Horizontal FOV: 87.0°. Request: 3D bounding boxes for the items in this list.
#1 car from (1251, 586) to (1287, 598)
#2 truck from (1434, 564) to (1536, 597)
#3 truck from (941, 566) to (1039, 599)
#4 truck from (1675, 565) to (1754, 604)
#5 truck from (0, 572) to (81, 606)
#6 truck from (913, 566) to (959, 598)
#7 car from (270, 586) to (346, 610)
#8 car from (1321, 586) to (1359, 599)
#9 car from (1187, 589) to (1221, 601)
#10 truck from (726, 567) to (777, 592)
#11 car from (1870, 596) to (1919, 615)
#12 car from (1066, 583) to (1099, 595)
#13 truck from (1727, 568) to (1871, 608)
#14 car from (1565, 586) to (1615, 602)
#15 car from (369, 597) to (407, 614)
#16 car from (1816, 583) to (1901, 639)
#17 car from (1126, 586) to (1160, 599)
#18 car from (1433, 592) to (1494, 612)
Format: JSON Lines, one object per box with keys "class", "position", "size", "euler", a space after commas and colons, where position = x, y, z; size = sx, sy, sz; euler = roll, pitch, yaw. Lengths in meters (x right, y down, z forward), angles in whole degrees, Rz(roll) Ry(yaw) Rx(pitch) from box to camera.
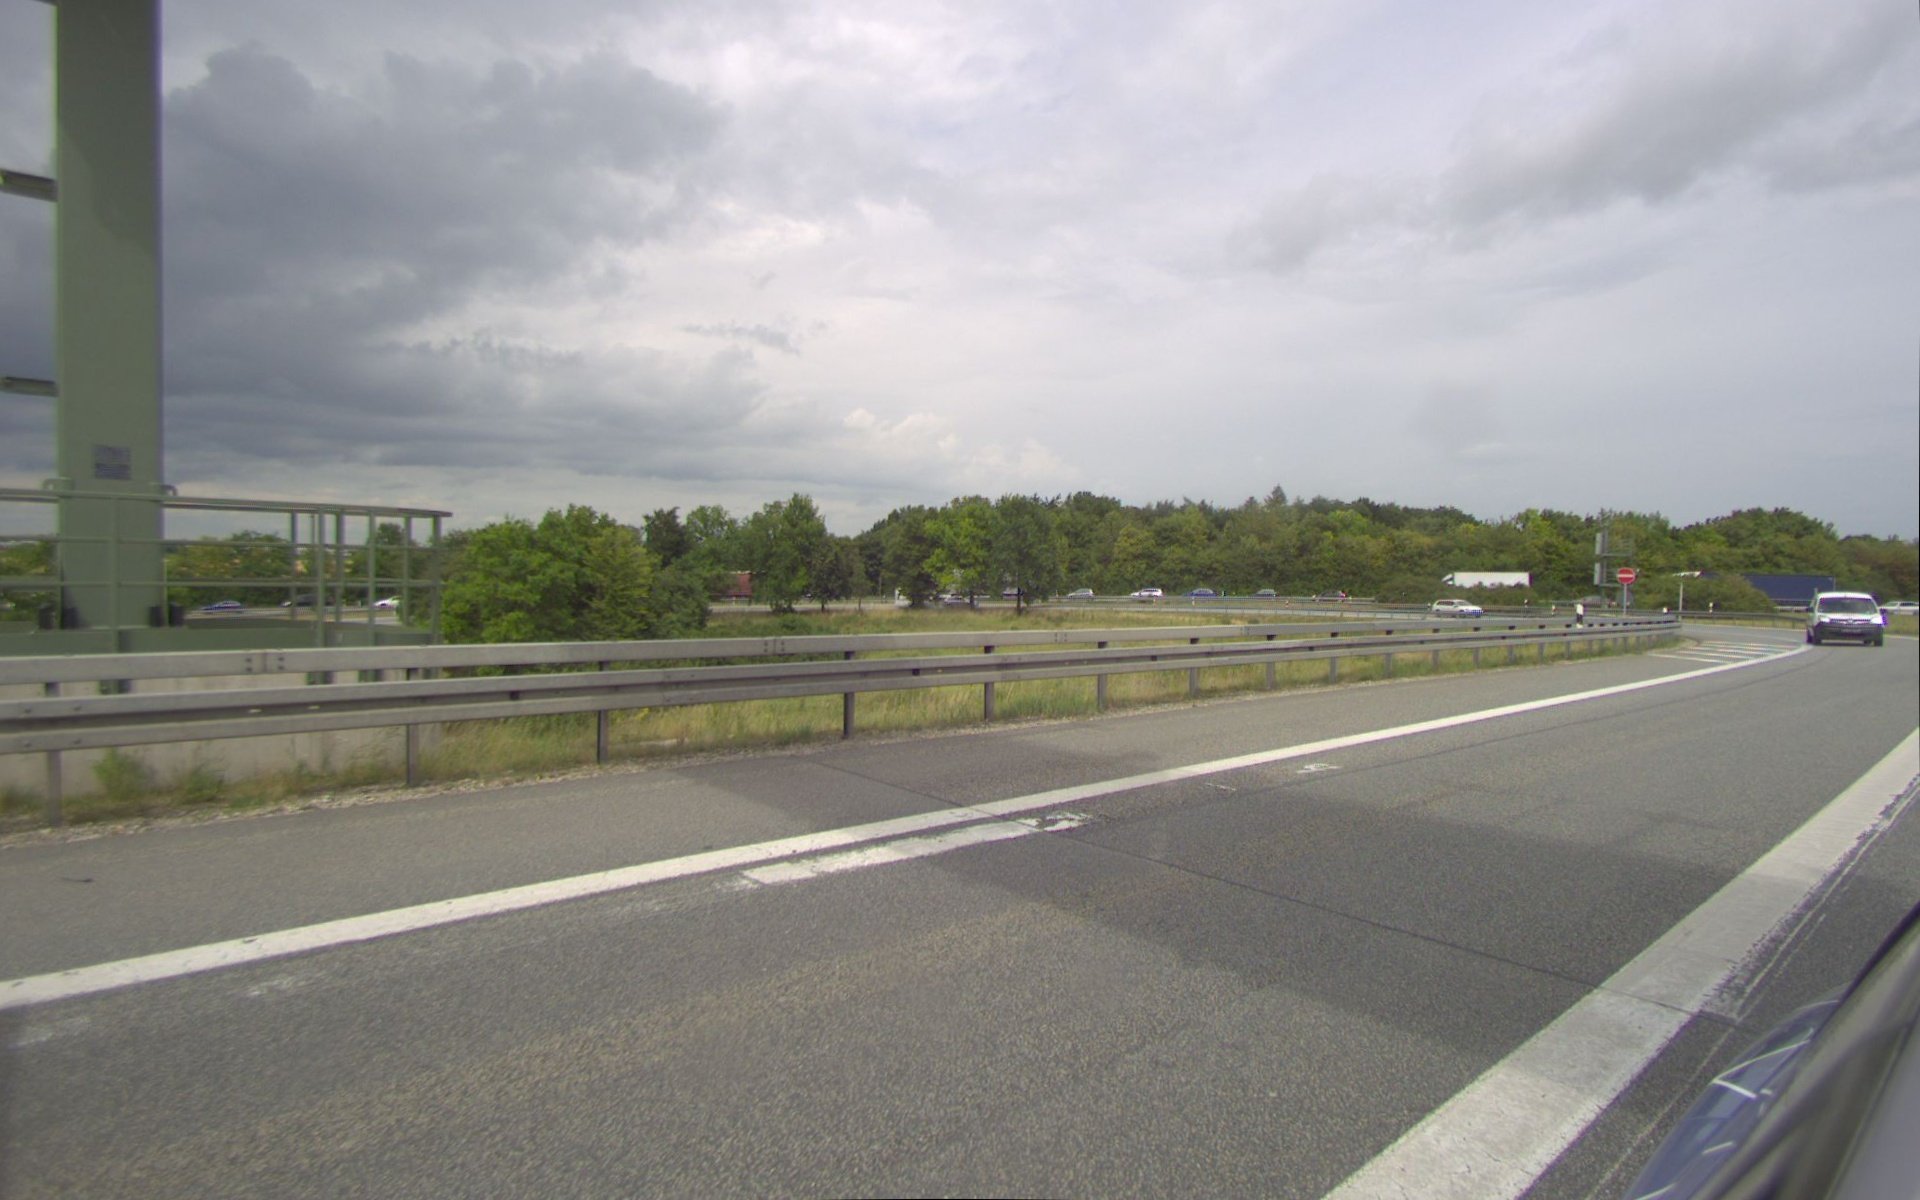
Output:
{"class": "car", "position": [37.330, -0.978, 122.312], "size": [3.958, 1.468, 1.545], "euler": [1, 1, 26]}
{"class": "truck", "position": [57.296, -2.135, 110.790], "size": [9.773, 3.446, 2.672], "euler": [1, 0, 26]}
{"class": "truck", "position": [3.960, -2.279, 134.859], "size": [12.837, 4.295, 2.681], "euler": [0, 0, 17]}
{"class": "truck", "position": [77.119, -1.553, 103.515], "size": [5.824, 3.850, 2.898], "euler": [1, 0, 5]}
{"class": "truck", "position": [-96.133, -1.149, 103.517], "size": [8.836, 3.410, 3.349], "euler": [0, 0, -20]}
{"class": "truck", "position": [-3.246, -2.378, 137.012], "size": [5.717, 4.232, 2.679], "euler": [0, 0, 17]}
{"class": "car", "position": [-72.450, -0.229, 112.615], "size": [6.946, 2.602, 2.769], "euler": [0, 1, -28]}
{"class": "car", "position": [44.215, -0.856, 117.720], "size": [3.963, 1.418, 1.543], "euler": [1, 1, 28]}
{"class": "car", "position": [30.005, -0.644, 124.648], "size": [3.951, 1.512, 1.548], "euler": [1, 0, 21]}
{"class": "truck", "position": [-28.261, -2.720, 137.288], "size": [6.796, 3.308, 3.203], "euler": [0, 0, -11]}
{"class": "car", "position": [94.569, 0.554, 101.587], "size": [4.417, 1.807, 1.998], "euler": [0, 0, 5]}
{"class": "car", "position": [15.929, -1.422, 131.374], "size": [3.950, 1.498, 1.693], "euler": [0, 0, 21]}
{"class": "truck", "position": [85.005, -1.221, 102.727], "size": [11.584, 3.907, 2.843], "euler": [0, 0, 5]}
{"class": "car", "position": [63.117, -0.595, 101.516], "size": [3.951, 1.568, 1.726], "euler": [0, 1, 21]}
{"class": "car", "position": [-67.884, 0.684, 120.150], "size": [3.919, 1.973, 1.737], "euler": [0, 0, -29]}
{"class": "car", "position": [30.085, 0.307, 33.984], "size": [1.853, 1.767, 3.945], "euler": [0, 1, 38]}
{"class": "car", "position": [23.157, -0.961, 128.254], "size": [3.953, 1.576, 1.786], "euler": [1, 1, 22]}
{"class": "car", "position": [41.197, 0.140, 82.888], "size": [1.690, 1.560, 4.493], "euler": [0, 1, -20]}
